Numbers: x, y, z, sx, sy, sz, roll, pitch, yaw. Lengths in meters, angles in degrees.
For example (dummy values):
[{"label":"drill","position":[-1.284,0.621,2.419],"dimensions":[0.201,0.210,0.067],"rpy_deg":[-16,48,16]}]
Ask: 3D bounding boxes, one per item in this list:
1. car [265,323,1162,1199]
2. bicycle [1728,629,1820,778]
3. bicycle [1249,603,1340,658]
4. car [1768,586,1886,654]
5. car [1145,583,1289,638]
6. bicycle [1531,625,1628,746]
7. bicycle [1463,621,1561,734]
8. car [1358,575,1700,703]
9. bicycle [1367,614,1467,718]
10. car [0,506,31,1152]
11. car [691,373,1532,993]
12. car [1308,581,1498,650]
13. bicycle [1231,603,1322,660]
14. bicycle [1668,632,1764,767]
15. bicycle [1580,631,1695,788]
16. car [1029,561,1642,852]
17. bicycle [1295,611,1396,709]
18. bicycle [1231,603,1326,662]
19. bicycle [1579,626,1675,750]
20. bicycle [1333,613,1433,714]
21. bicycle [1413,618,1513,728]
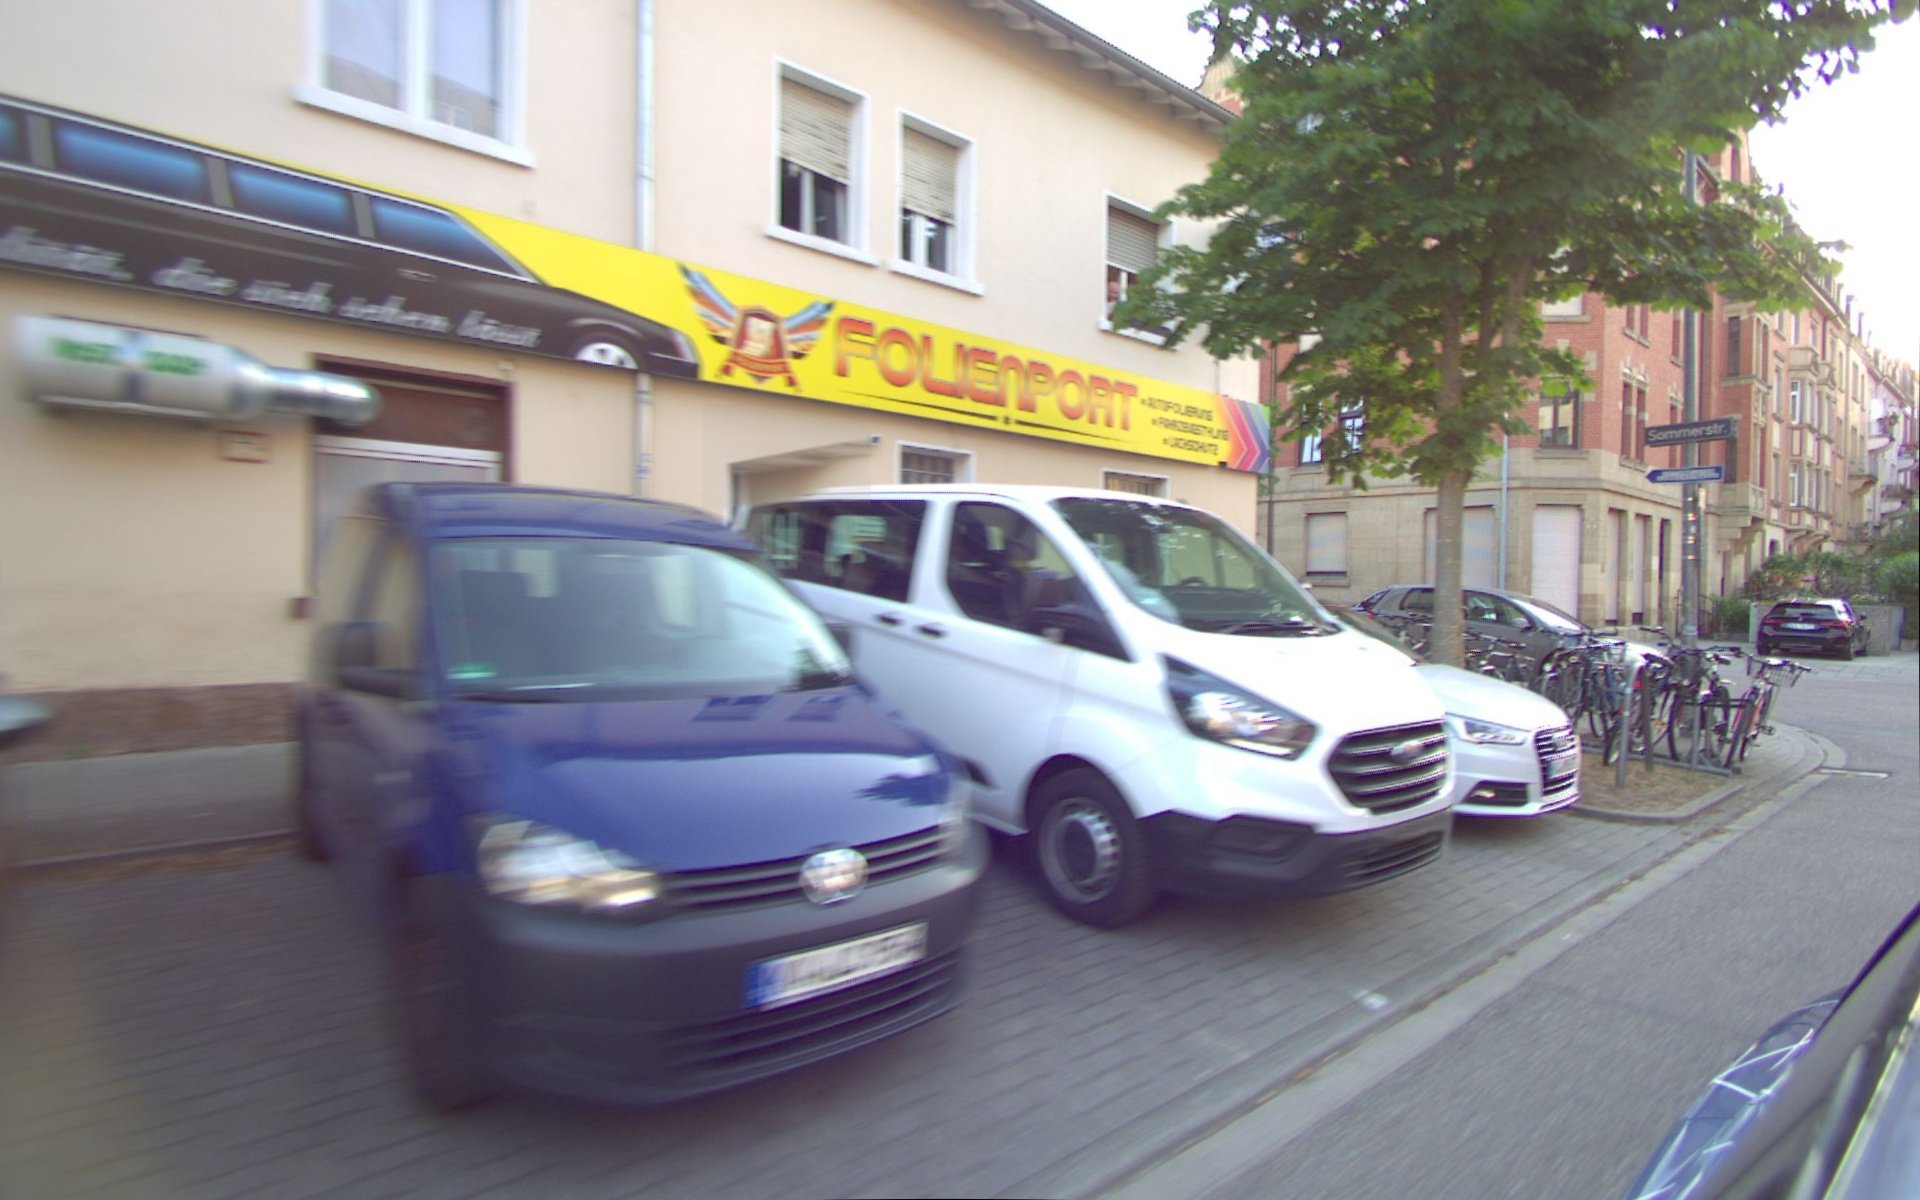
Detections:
[{"label":"car","position":[-1.507,0.315,4.181],"dimensions":[1.964,1.881,4.304],"rpy_deg":[0,3,-38]},{"label":"bicycle","position":[7.066,0.840,8.756],"dimensions":[1.939,1.113,0.357],"rpy_deg":[0,0,-43]},{"label":"bicycle","position":[6.924,0.612,21.033],"dimensions":[0.473,1.075,1.820],"rpy_deg":[0,1,-41]},{"label":"car","position":[21.435,0.437,24.974],"dimensions":[3.933,1.543,1.797],"rpy_deg":[0,1,-43]},{"label":"car","position":[7.854,0.268,31.195],"dimensions":[1.799,1.585,3.992],"rpy_deg":[0,1,-43]},{"label":"bicycle","position":[6.067,0.791,9.869],"dimensions":[1.755,1.036,0.357],"rpy_deg":[0,0,-43]},{"label":"bicycle","position":[5.677,0.754,10.362],"dimensions":[1.755,1.036,0.357],"rpy_deg":[0,0,-43]},{"label":"car","position":[8.231,0.464,14.963],"dimensions":[1.771,1.509,4.000],"rpy_deg":[1,2,-36]},{"label":"bicycle","position":[5.023,0.683,11.063],"dimensions":[1.755,1.036,0.357],"rpy_deg":[0,0,-43]},{"label":"car","position":[-3.609,0.489,2.423],"dimensions":[1.966,1.514,4.730],"rpy_deg":[0,3,-42]},{"label":"car","position":[0.364,0.232,6.104],"dimensions":[2.111,2.127,4.974],"rpy_deg":[-1,1,-37]},{"label":"car","position":[11.719,0.340,26.990],"dimensions":[1.750,1.687,4.338],"rpy_deg":[0,1,-43]},{"label":"bicycle","position":[6.476,0.625,20.765],"dimensions":[0.439,1.075,1.820],"rpy_deg":[0,1,-41]},{"label":"bicycle","position":[6.776,0.834,9.036],"dimensions":[1.939,1.036,0.357],"rpy_deg":[0,1,-43]},{"label":"bicycle","position":[5.234,0.786,7.779],"dimensions":[1.755,1.036,0.357],"rpy_deg":[0,0,-43]},{"label":"car","position":[2.539,0.570,7.627],"dimensions":[1.692,1.586,4.039],"rpy_deg":[0,0,-41]},{"label":"bicycle","position":[4.473,0.659,11.681],"dimensions":[1.755,1.036,0.357],"rpy_deg":[0,0,-43]},{"label":"bicycle","position":[6.302,0.625,20.120],"dimensions":[0.469,1.076,1.820],"rpy_deg":[2,0,-41]},{"label":"bicycle","position":[6.328,0.786,9.569],"dimensions":[1.797,1.036,0.357],"rpy_deg":[0,0,-43]},{"label":"bicycle","position":[4.766,0.674,11.340],"dimensions":[1.755,1.036,0.357],"rpy_deg":[0,0,-43]},{"label":"bicycle","position":[5.349,0.733,10.711],"dimensions":[1.755,1.036,0.357],"rpy_deg":[0,0,-43]}]
